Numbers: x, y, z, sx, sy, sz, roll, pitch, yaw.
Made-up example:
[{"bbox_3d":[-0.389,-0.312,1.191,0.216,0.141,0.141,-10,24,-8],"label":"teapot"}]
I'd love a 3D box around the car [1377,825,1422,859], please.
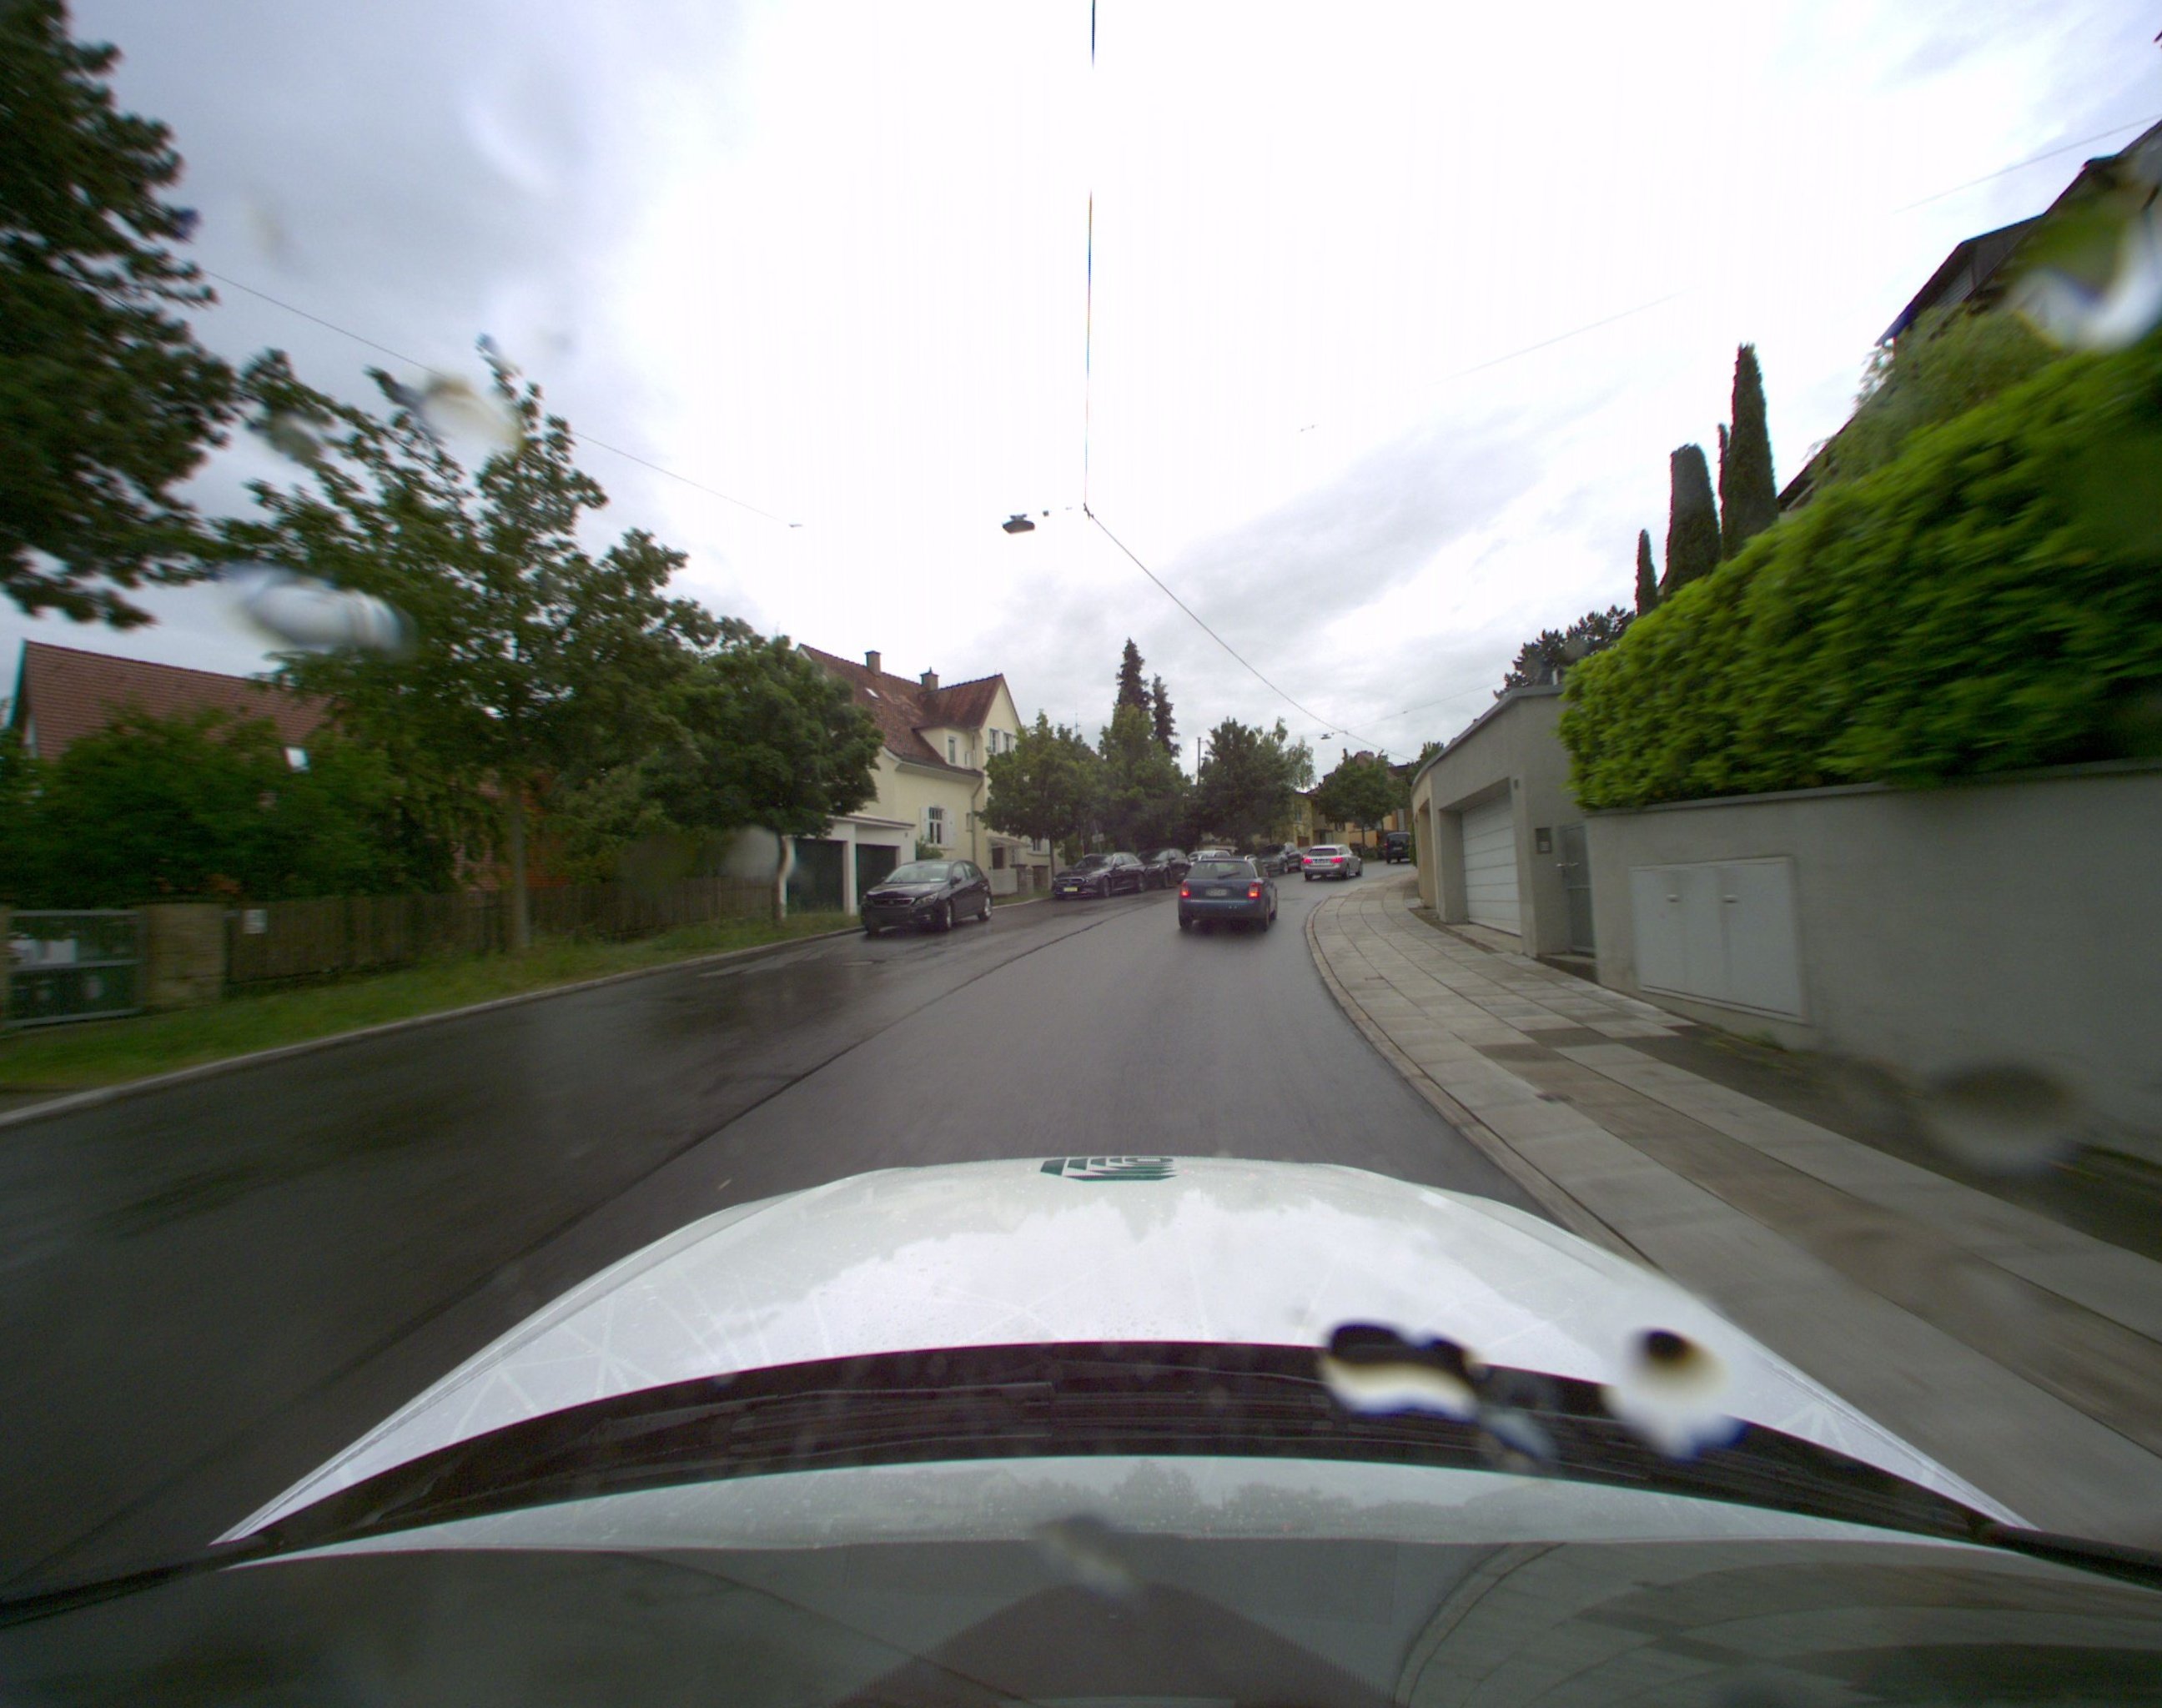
[{"bbox_3d":[19.605,-0.773,50.031,1.716,1.768,4.263,-2,2,33],"label":"car"}]

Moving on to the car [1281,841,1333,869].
[{"bbox_3d":[13.654,0.047,49.108,1.665,1.472,3.890,-5,-1,36],"label":"car"}]

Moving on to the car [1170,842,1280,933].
[{"bbox_3d":[3.120,0.614,16.969,1.720,1.466,4.019,-3,2,17],"label":"car"}]

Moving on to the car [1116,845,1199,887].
[{"bbox_3d":[3.169,0.434,33.060,1.717,1.545,4.236,-2,0,30],"label":"car"}]

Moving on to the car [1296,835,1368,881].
[{"bbox_3d":[10.863,0.138,35.010,1.956,1.634,4.263,-2,2,30],"label":"car"}]

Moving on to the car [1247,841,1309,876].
[{"bbox_3d":[10.939,0.206,45.043,1.783,1.669,4.455,-5,-1,34],"label":"car"}]

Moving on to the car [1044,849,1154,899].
[{"bbox_3d":[0.753,0.638,28.634,1.849,1.545,4.934,-2,0,27],"label":"car"}]

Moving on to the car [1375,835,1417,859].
[{"bbox_3d":[24.796,-0.571,64.048,1.751,1.535,4.635,-7,-2,37],"label":"car"}]

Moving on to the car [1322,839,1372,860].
[{"bbox_3d":[25.050,-0.392,76.689,4.013,1.646,1.875,-5,-1,40],"label":"car"}]

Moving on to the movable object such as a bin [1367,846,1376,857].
[{"bbox_3d":[27.708,-0.249,77.745,0.581,1.023,0.590,-3,0,37],"label":"movable object such as a bin"}]

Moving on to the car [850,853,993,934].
[{"bbox_3d":[-3.303,0.766,17.671,1.659,1.466,3.906,-3,0,10],"label":"car"}]

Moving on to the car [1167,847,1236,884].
[{"bbox_3d":[5.589,0.489,37.380,1.717,1.466,4.025,-2,0,30],"label":"car"}]
